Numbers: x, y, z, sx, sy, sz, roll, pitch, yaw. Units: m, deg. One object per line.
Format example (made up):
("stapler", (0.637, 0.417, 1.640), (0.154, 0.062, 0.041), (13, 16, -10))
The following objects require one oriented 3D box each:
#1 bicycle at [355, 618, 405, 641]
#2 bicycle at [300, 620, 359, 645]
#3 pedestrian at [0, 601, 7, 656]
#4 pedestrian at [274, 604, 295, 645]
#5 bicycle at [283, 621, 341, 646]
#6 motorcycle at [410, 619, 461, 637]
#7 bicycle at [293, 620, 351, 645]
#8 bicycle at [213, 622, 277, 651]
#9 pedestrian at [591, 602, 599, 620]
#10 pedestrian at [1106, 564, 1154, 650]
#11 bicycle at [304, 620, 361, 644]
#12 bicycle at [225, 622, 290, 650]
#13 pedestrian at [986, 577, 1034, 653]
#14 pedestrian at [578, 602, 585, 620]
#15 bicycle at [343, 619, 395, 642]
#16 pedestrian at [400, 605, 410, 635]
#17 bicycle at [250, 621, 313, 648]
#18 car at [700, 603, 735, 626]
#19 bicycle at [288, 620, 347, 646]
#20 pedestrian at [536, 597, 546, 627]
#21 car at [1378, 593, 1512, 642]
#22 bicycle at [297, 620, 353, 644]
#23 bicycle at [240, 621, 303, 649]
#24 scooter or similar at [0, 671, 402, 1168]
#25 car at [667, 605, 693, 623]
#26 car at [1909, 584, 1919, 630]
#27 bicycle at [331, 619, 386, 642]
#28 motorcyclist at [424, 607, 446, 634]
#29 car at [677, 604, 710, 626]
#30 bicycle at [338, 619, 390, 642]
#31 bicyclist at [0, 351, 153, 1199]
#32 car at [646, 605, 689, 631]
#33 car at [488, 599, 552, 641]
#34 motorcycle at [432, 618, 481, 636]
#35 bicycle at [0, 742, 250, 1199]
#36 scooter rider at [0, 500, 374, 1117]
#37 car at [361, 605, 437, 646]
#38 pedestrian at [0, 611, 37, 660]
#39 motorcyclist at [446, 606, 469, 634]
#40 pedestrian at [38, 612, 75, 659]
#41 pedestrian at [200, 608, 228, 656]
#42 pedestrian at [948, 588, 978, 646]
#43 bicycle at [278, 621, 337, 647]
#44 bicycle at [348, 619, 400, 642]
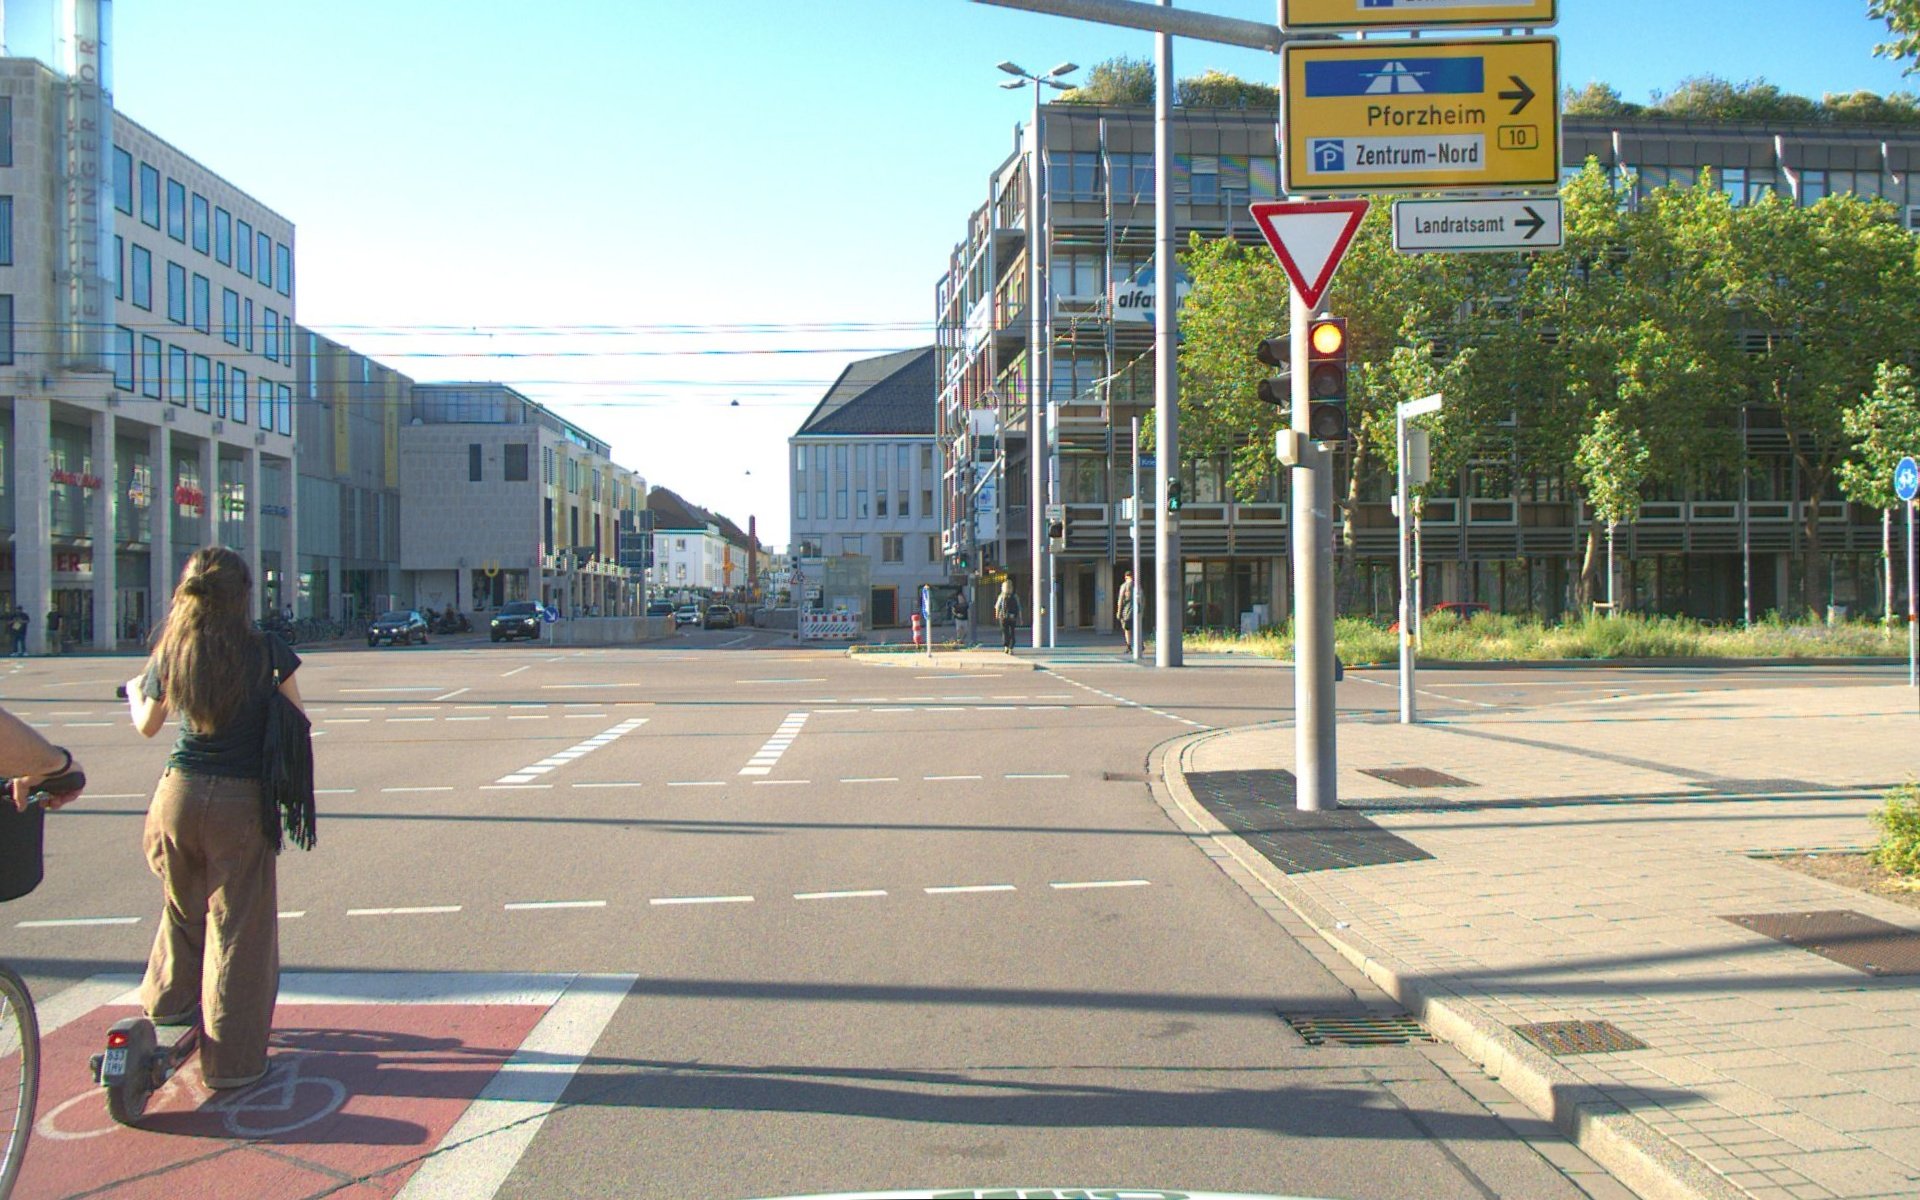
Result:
("bicycle", (-30.430, 1.553, 86.799), (2.417, 1.130, 0.660), (-1, 0, 0))
("bicycle", (-29.651, 1.523, 77.813), (2.417, 1.130, 0.835), (-1, 0, 0))
("pedestrian", (-35.759, 1.052, 60.881), (0.898, 2.049, 1.020), (0, 0, -13))
("pedestrian", (-33.572, 1.206, 82.203), (0.933, 2.017, 1.000), (0, 0, -25))
("bicycle", (-29.599, 1.523, 75.553), (2.417, 1.130, 0.537), (-1, 0, 0))
("motorcycle", (-29.738, 1.583, 93.890), (2.617, 1.013, 0.915), (1, 0, -8))
("bicycle", (-29.676, 1.521, 76.974), (2.417, 1.130, 0.684), (-1, 0, 0))
("bicycle", (-29.437, 1.508, 68.107), (2.354, 1.132, 0.658), (-1, 0, -1))
("pedestrian", (-27.981, 0.836, 126.857), (0.479, 1.380, 0.563), (1, -1, -7))
("pedestrian", (3.573, 0.140, 34.767), (0.839, 1.774, 0.738), (-1, 1, -9))
("bicycle", (-30.347, 1.528, 79.993), (2.417, 1.130, 0.835), (-1, 0, 0))
("bicycle", (-29.483, 1.516, 69.452), (2.417, 1.130, 0.684), (-1, 0, -1))
("pedestrian", (1.058, 0.301, 35.083), (0.879, 1.576, 0.922), (-1, 1, -7))
("pedestrian", (-29.312, 0.818, 128.035), (0.479, 1.380, 0.563), (1, -1, -7))
("bicycle", (-30.305, 1.551, 84.856), (2.417, 1.130, 0.660), (-1, 0, 0))
("pedestrian", (-37.832, 1.369, 112.707), (0.606, 2.049, 0.476), (1, -1, -16))
("bicycle", (-29.382, 1.494, 71.628), (2.417, 1.130, 0.684), (-1, 0, 0))
("car", (-15.818, 0.976, 108.062), (1.898, 1.475, 4.258), (0, -1, -4))
("bicycle", (-29.601, 1.527, 76.200), (2.417, 1.130, 0.684), (-1, 0, 0))
("pedestrian", (-29.394, 0.849, 116.096), (0.606, 2.049, 0.476), (1, -1, -16))
("car", (16.039, 0.586, 54.767), (3.795, 1.512, 1.842), (-1, -3, -8))
("bicycle", (-30.234, 1.525, 78.743), (2.417, 1.130, 0.684), (-1, 0, 0))
("bicycle", (-29.462, 1.504, 70.818), (2.416, 1.130, 0.684), (-1, 0, 1))
("scooter or similar", (-2.208, 0.846, 4.968), (0.629, 1.196, 1.482), (1, 0, -4))
("car", (-29.117, 1.455, 172.133), (2.131, 1.906, 5.609), (0, -1, -5))
("car", (38.420, 0.313, 62.028), (4.764, 1.709, 1.996), (1, 1, -10))
("bicycle", (-30.308, 1.548, 83.335), (2.417, 1.130, 0.835), (-1, 0, 0))
("motorcyclist", (-29.811, 1.176, 93.870), (1.017, 1.497, 0.915), (1, 0, -8))
("car", (-22.367, 1.270, 138.841), (2.131, 1.722, 5.611), (0, -1, -3))
("bicycle", (-30.316, 1.541, 84.146), (2.417, 1.130, 0.660), (-1, 0, 0))
("bicyclist", (-1.979, 0.428, 2.963), (0.685, 1.698, 0.786), (-1, 0, -3))
("car", (-20.492, 1.258, 116.008), (2.130, 1.722, 5.485), (0, -1, -1))
("car", (-18.587, 0.839, 70.036), (1.900, 1.707, 4.289), (-1, 0, -5))
("motorcycle", (-29.611, 1.600, 97.340), (2.617, 1.013, 0.915), (1, 0, -8))
("bicycle", (-1.968, 0.894, 2.936), (0.692, 1.113, 1.799), (-1, 0, -2))
("scooter rider", (-2.190, 0.532, 4.790), (0.629, 1.571, 1.116), (1, 0, -4))
("car", (-23.580, 1.043, 69.667), (1.899, 1.608, 4.292), (-1, 0, -3))
("pedestrian", (-33.093, 1.247, 58.093), (0.999, 1.680, 0.934), (0, 0, -41))
("motorcyclist", (-29.582, 1.167, 97.359), (1.115, 1.602, 0.915), (1, -1, -8))
("pedestrian", (-31.257, 1.216, 57.220), (0.827, 1.598, 0.939), (-1, 0, 44))
("pedestrian", (-27.752, 1.182, 61.544), (0.736, 1.770, 0.756), (0, 0, -3))
("pedestrian", (0.110, 0.583, 56.541), (0.990, 1.944, 1.051), (0, 0, 2))
("bicycle", (-29.573, 1.521, 74.974), (2.417, 1.130, 0.593), (-1, 0, 0))
("bicycle", (-30.308, 1.560, 85.575), (2.417, 1.130, 0.631), (-1, 0, 0))
